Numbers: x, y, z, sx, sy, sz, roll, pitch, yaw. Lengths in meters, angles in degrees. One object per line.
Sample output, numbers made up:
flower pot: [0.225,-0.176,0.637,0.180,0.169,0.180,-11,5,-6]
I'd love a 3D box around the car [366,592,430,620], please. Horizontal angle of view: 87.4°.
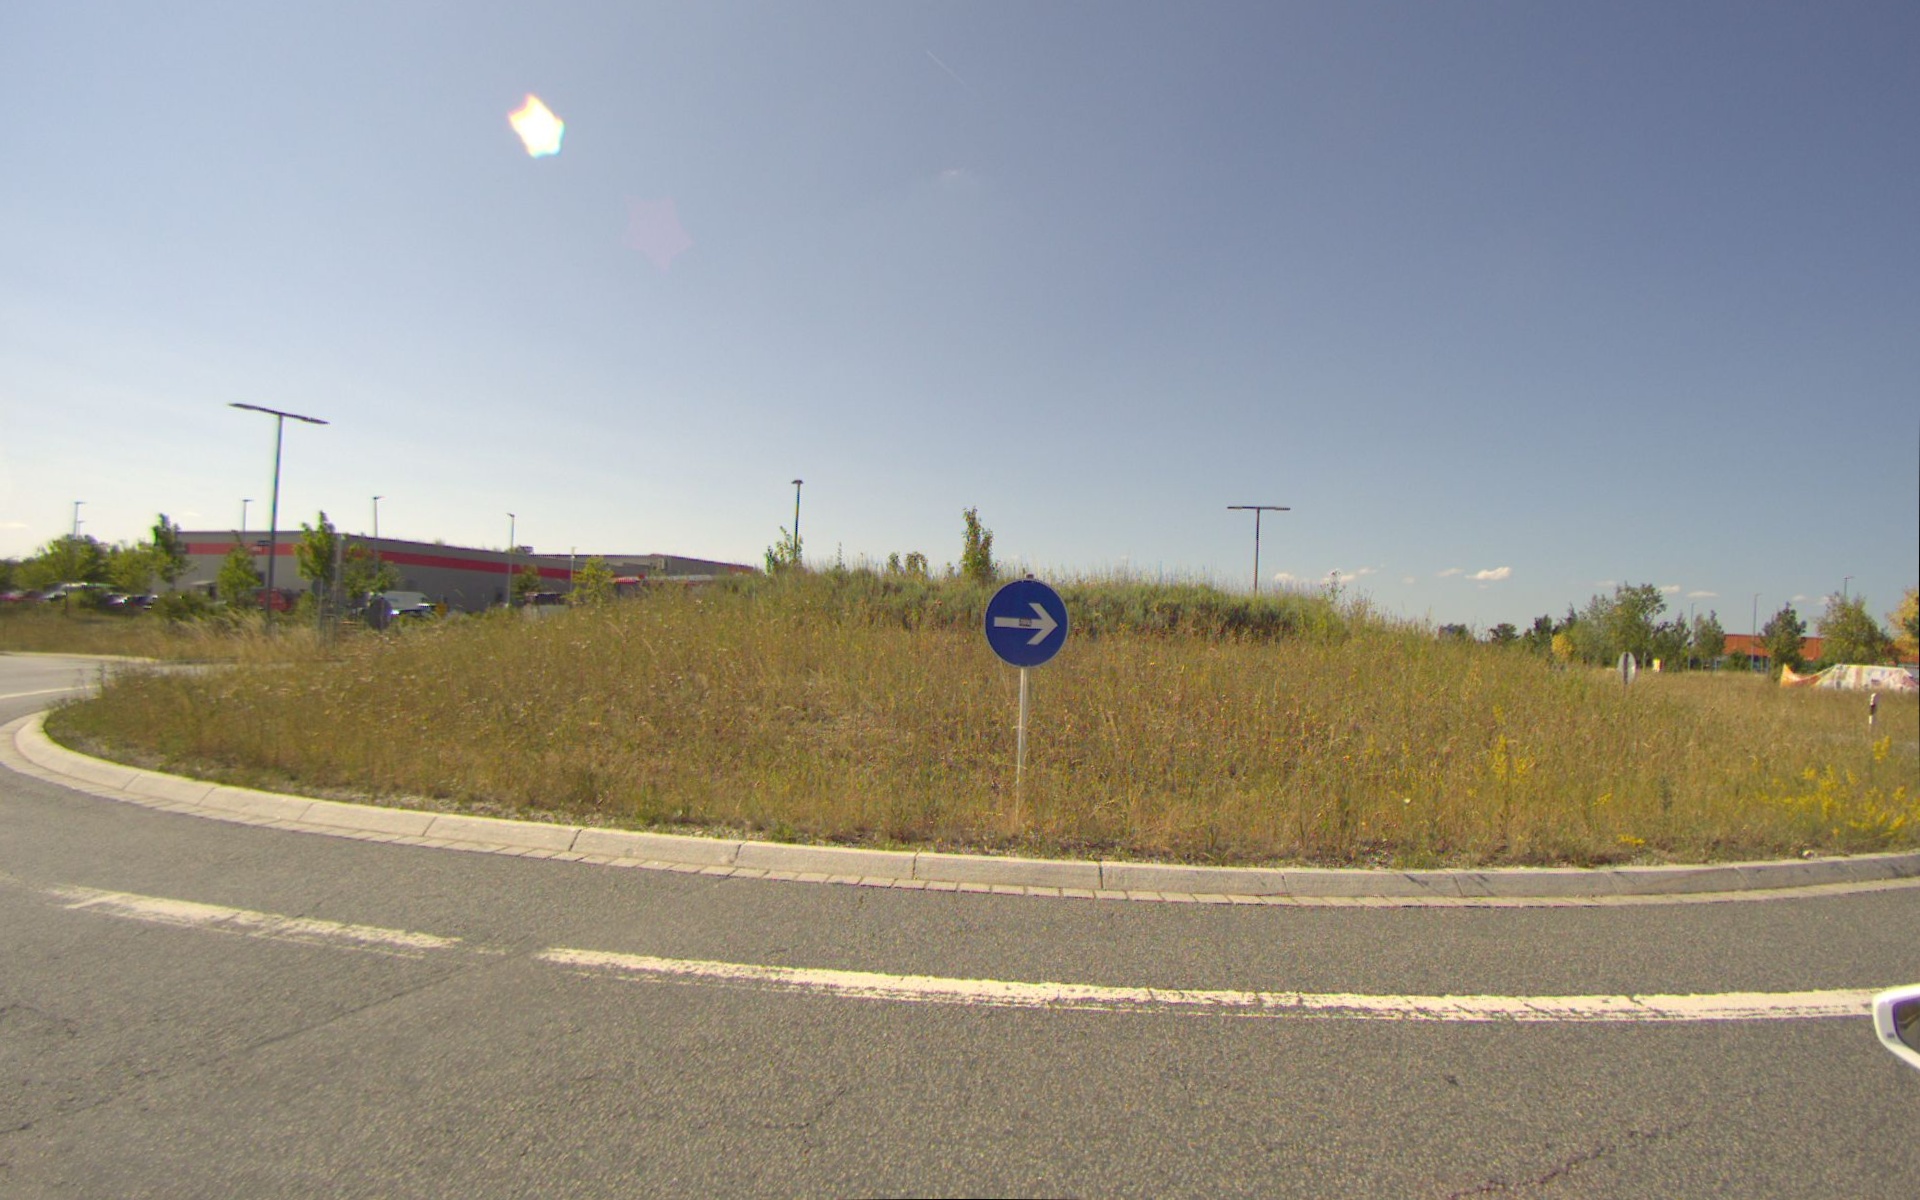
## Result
car: [-44.881,0.518,80.282,1.961,2.040,3.999,2,-2,23]
